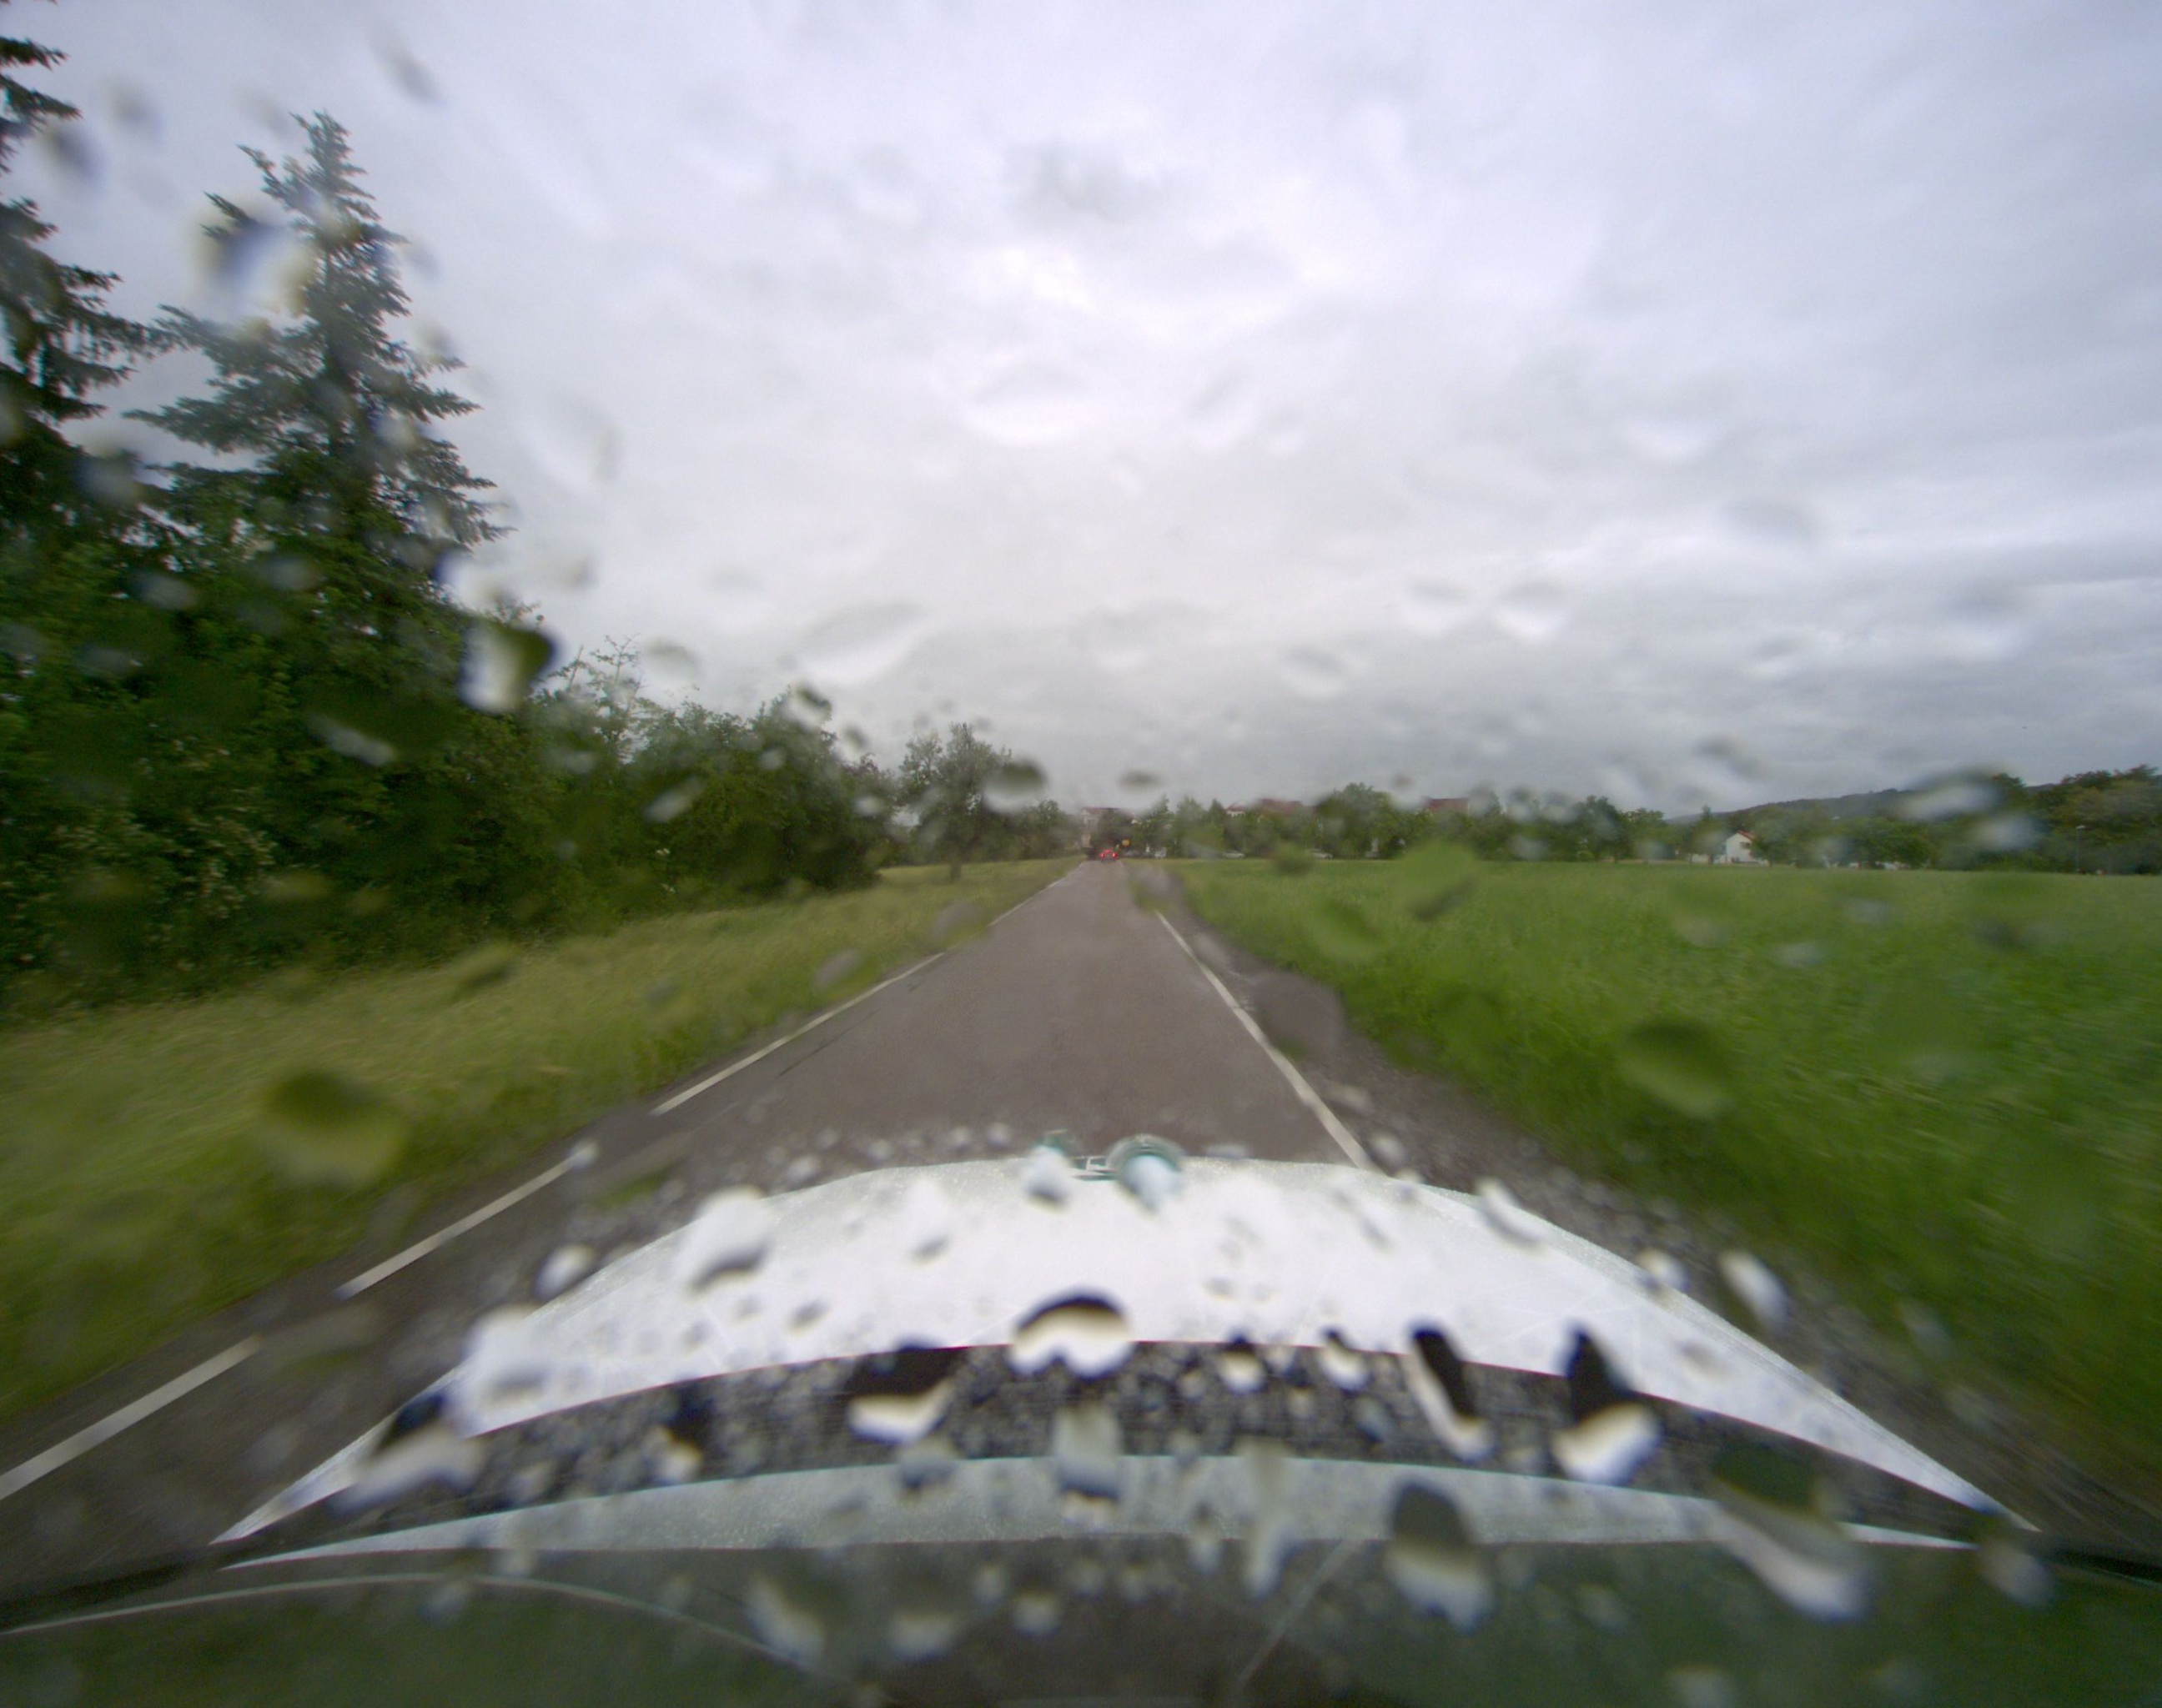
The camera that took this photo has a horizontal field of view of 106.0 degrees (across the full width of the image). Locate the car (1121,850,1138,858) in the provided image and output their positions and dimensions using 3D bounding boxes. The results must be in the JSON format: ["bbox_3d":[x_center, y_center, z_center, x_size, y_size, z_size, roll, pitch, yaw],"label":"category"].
[{"bbox_3d":[8.897,0.008,149.702,1.645,1.546,4.023,-1,-1,26],"label":"car"}]

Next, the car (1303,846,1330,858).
[{"bbox_3d":[33.860,-0.279,116.986,3.682,1.564,1.617,-1,-1,15],"label":"car"}]

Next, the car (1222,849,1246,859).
[{"bbox_3d":[22.573,-0.041,120.238,3.365,1.371,1.554,-1,-1,15],"label":"car"}]

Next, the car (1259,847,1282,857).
[{"bbox_3d":[27.695,-0.254,118.877,3.169,1.371,1.578,-1,-1,15],"label":"car"}]

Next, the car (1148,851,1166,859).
[{"bbox_3d":[14.728,0.206,158.414,1.645,1.546,4.025,-1,-1,37],"label":"car"}]

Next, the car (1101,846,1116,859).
[{"bbox_3d":[3.348,-0.163,99.390,1.807,1.594,4.003,-1,-1,3],"label":"car"}]

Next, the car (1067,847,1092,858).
[{"bbox_3d":[-0.275,-0.212,130.399,1.831,1.594,3.951,0,-1,-44],"label":"car"}]

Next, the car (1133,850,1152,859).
[{"bbox_3d":[11.712,0.132,154.101,1.645,1.546,4.025,-1,-1,37],"label":"car"}]
